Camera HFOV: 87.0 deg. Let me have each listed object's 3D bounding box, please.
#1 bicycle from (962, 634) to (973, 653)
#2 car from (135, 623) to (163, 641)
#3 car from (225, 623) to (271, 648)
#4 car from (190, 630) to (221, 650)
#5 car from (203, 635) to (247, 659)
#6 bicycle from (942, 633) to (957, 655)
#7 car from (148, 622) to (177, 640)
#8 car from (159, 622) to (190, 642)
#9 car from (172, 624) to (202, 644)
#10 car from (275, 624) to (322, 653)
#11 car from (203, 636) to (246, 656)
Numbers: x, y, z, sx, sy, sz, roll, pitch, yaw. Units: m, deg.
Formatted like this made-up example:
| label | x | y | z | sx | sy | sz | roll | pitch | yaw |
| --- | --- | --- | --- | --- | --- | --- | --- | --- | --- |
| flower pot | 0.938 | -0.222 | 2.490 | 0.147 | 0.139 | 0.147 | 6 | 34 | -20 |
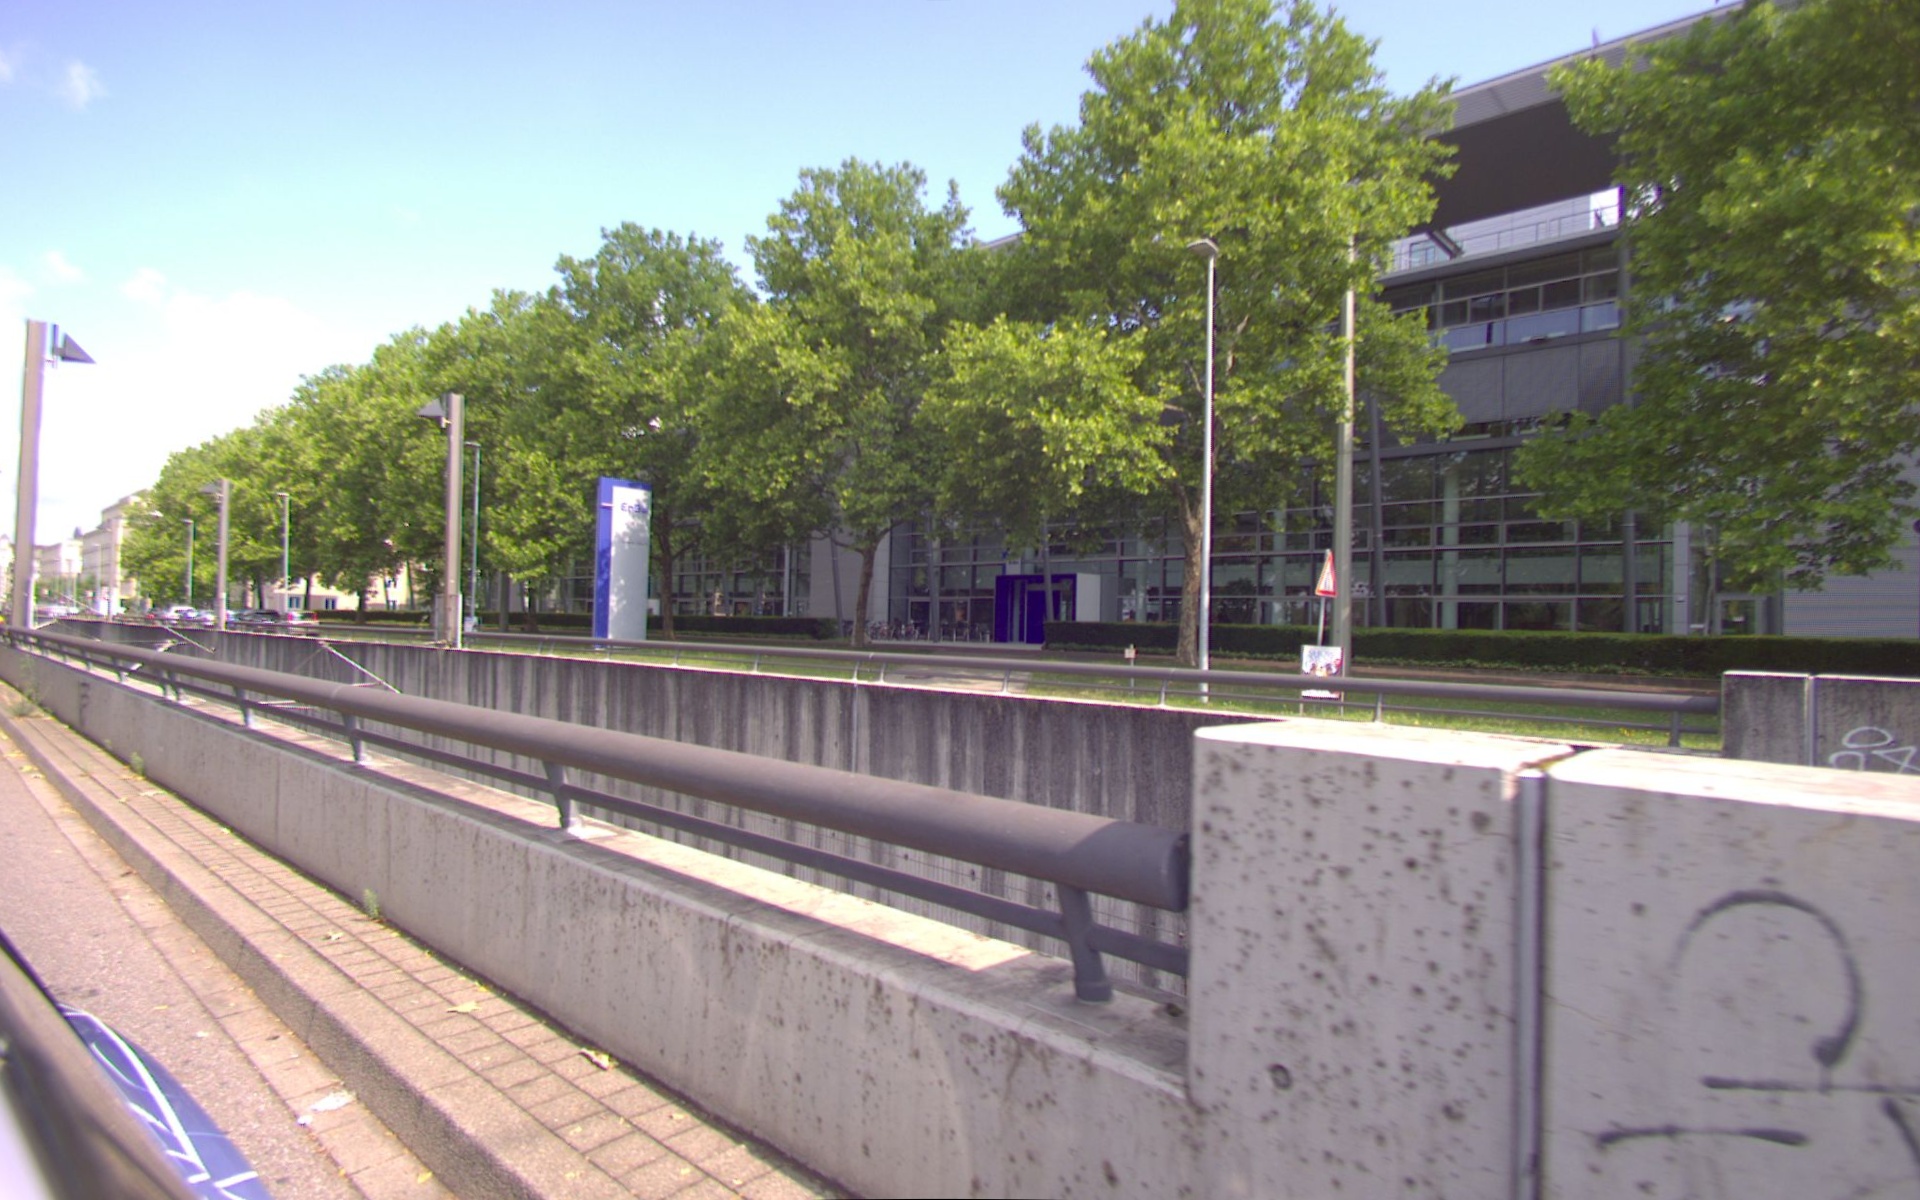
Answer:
| label | x | y | z | sx | sy | sz | roll | pitch | yaw |
| --- | --- | --- | --- | --- | --- | --- | --- | --- | --- |
| bicycle | 0.426 | 2.425 | 56.995 | 0.586 | 1.031 | 2.338 | -1 | -1 | -1 |
| car | -64.427 | 2.521 | 80.357 | 3.185 | 1.387 | 1.291 | -1 | -2 | 43 |
| car | -41.085 | 2.026 | 58.411 | 3.157 | 1.445 | 1.561 | -1 | -2 | 43 |
| car | -49.218 | 2.600 | 66.022 | 2.549 | 1.252 | 1.165 | -1 | -1 | 43 |
| car | -46.084 | 2.908 | 63.430 | 3.896 | 1.387 | 1.558 | -1 | -2 | 44 |
| bicycle | -0.595 | 2.473 | 57.137 | 0.803 | 1.186 | 2.338 | -1 | -1 | -1 |
| car | -60.659 | 2.335 | 76.962 | 3.185 | 1.387 | 1.291 | -1 | -2 | 43 |
| car | -56.709 | 2.312 | 73.065 | 3.185 | 1.387 | 1.291 | -1 | -2 | 43 |
| car | -53.205 | 2.316 | 69.646 | 2.745 | 1.387 | 1.151 | -1 | -2 | 43 |
| car | -35.450 | 2.041 | 54.208 | 3.157 | 1.467 | 1.401 | -1 | -2 | 43 |
| car | -45.767 | 2.847 | 62.944 | 3.127 | 1.215 | 1.590 | -1 | -2 | 43 |
